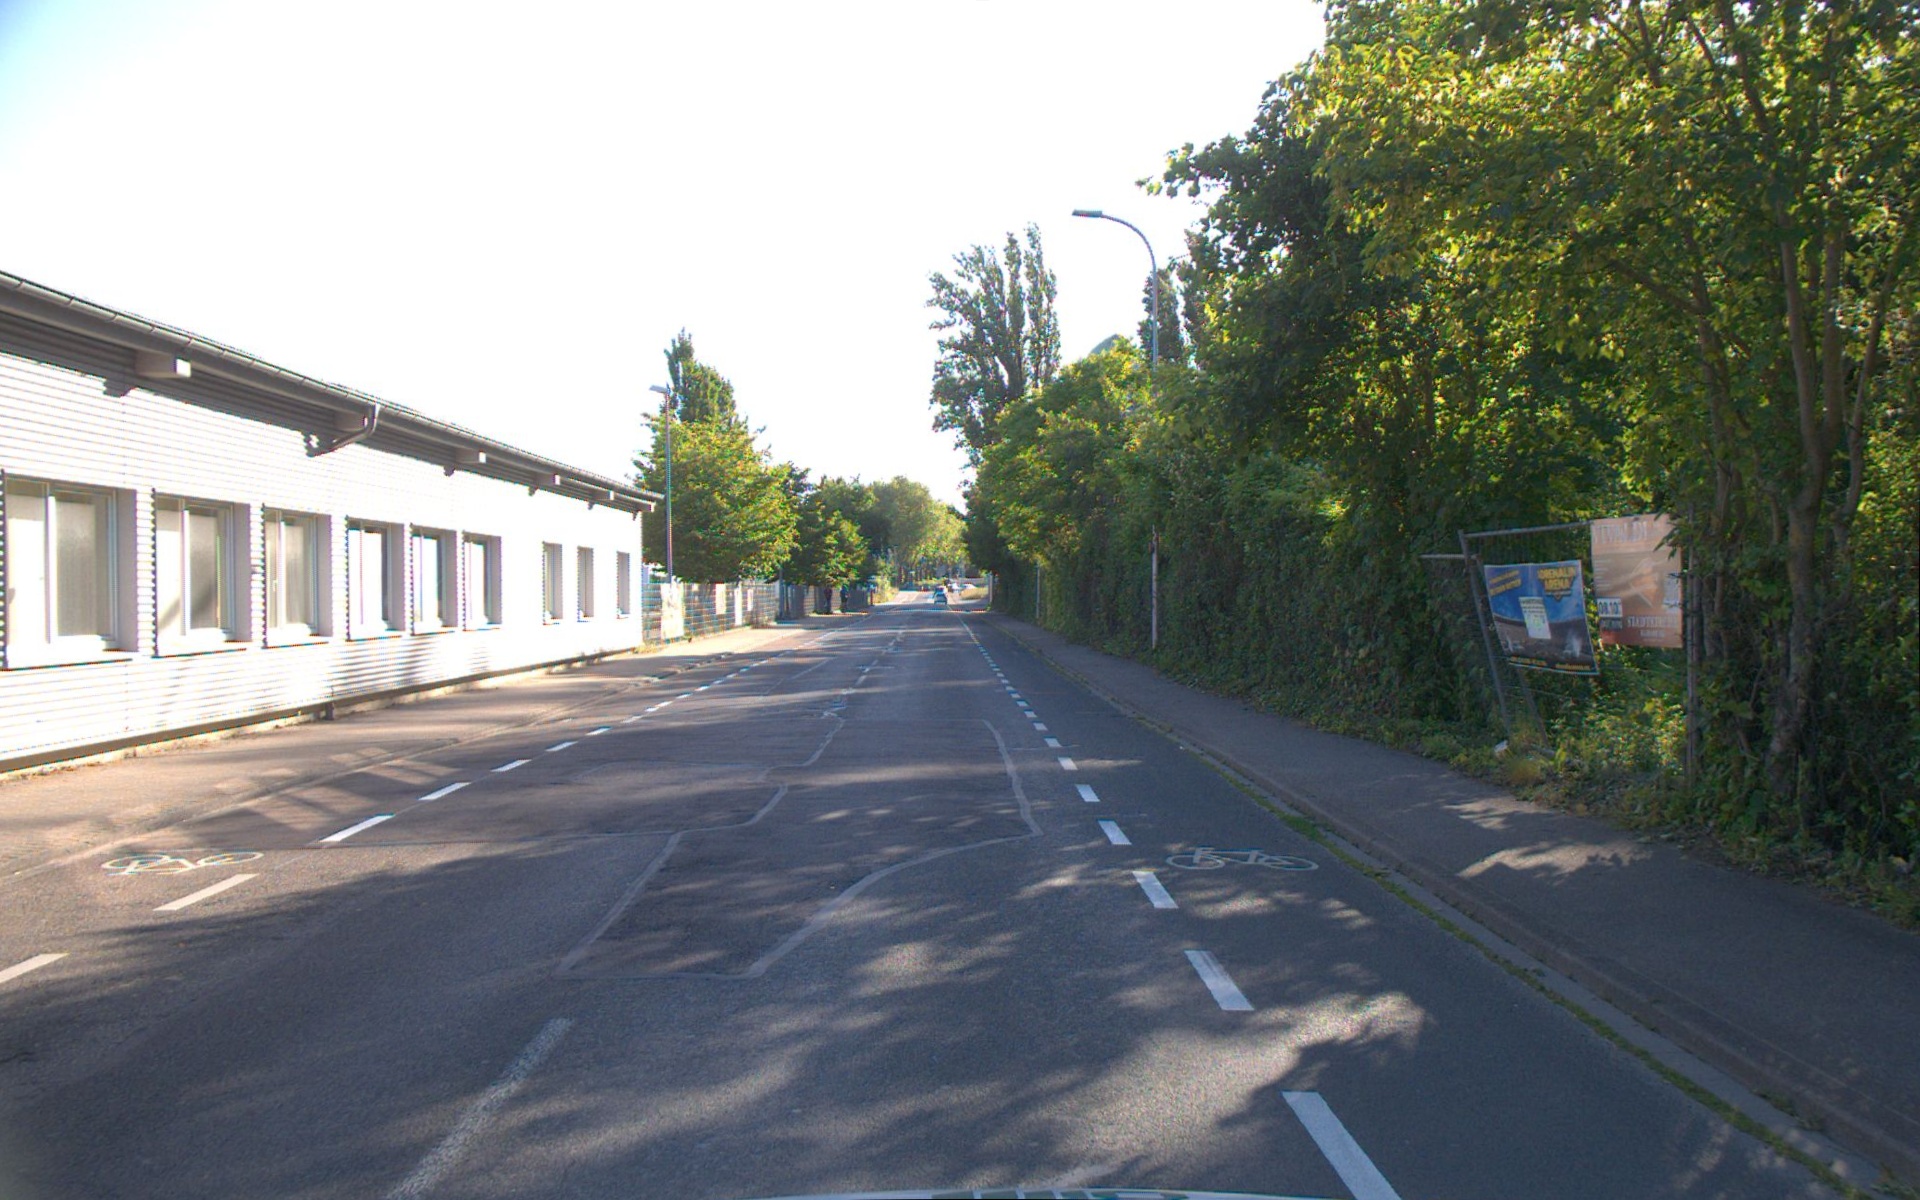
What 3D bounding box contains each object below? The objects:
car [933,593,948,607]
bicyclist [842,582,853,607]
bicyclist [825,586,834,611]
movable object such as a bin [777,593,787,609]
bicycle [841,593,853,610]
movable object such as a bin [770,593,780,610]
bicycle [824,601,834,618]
[{"bbox_3d":[-2.606,-0.013,218.205,1.902,1.679,4.309,0,1,-1],"label":"car"},{"bbox_3d":[-7.050,-0.358,103.434,0.675,1.558,0.722,0,1,-1],"label":"bicyclist"},{"bbox_3d":[-8.223,-0.125,104.018,0.548,1.560,0.689,0,1,-1],"label":"bicyclist"},{"bbox_3d":[-11.990,0.066,111.452,0.453,1.095,1.569,-1,1,-1],"label":"movable object such as a bin"},{"bbox_3d":[-7.041,0.081,103.480,0.675,1.052,1.351,0,1,-1],"label":"bicycle"},{"bbox_3d":[-12.496,0.085,111.622,0.453,1.095,1.569,-1,1,-1],"label":"movable object such as a bin"},{"bbox_3d":[-8.224,0.597,104.084,0.551,1.052,1.351,0,1,-1],"label":"bicycle"}]
